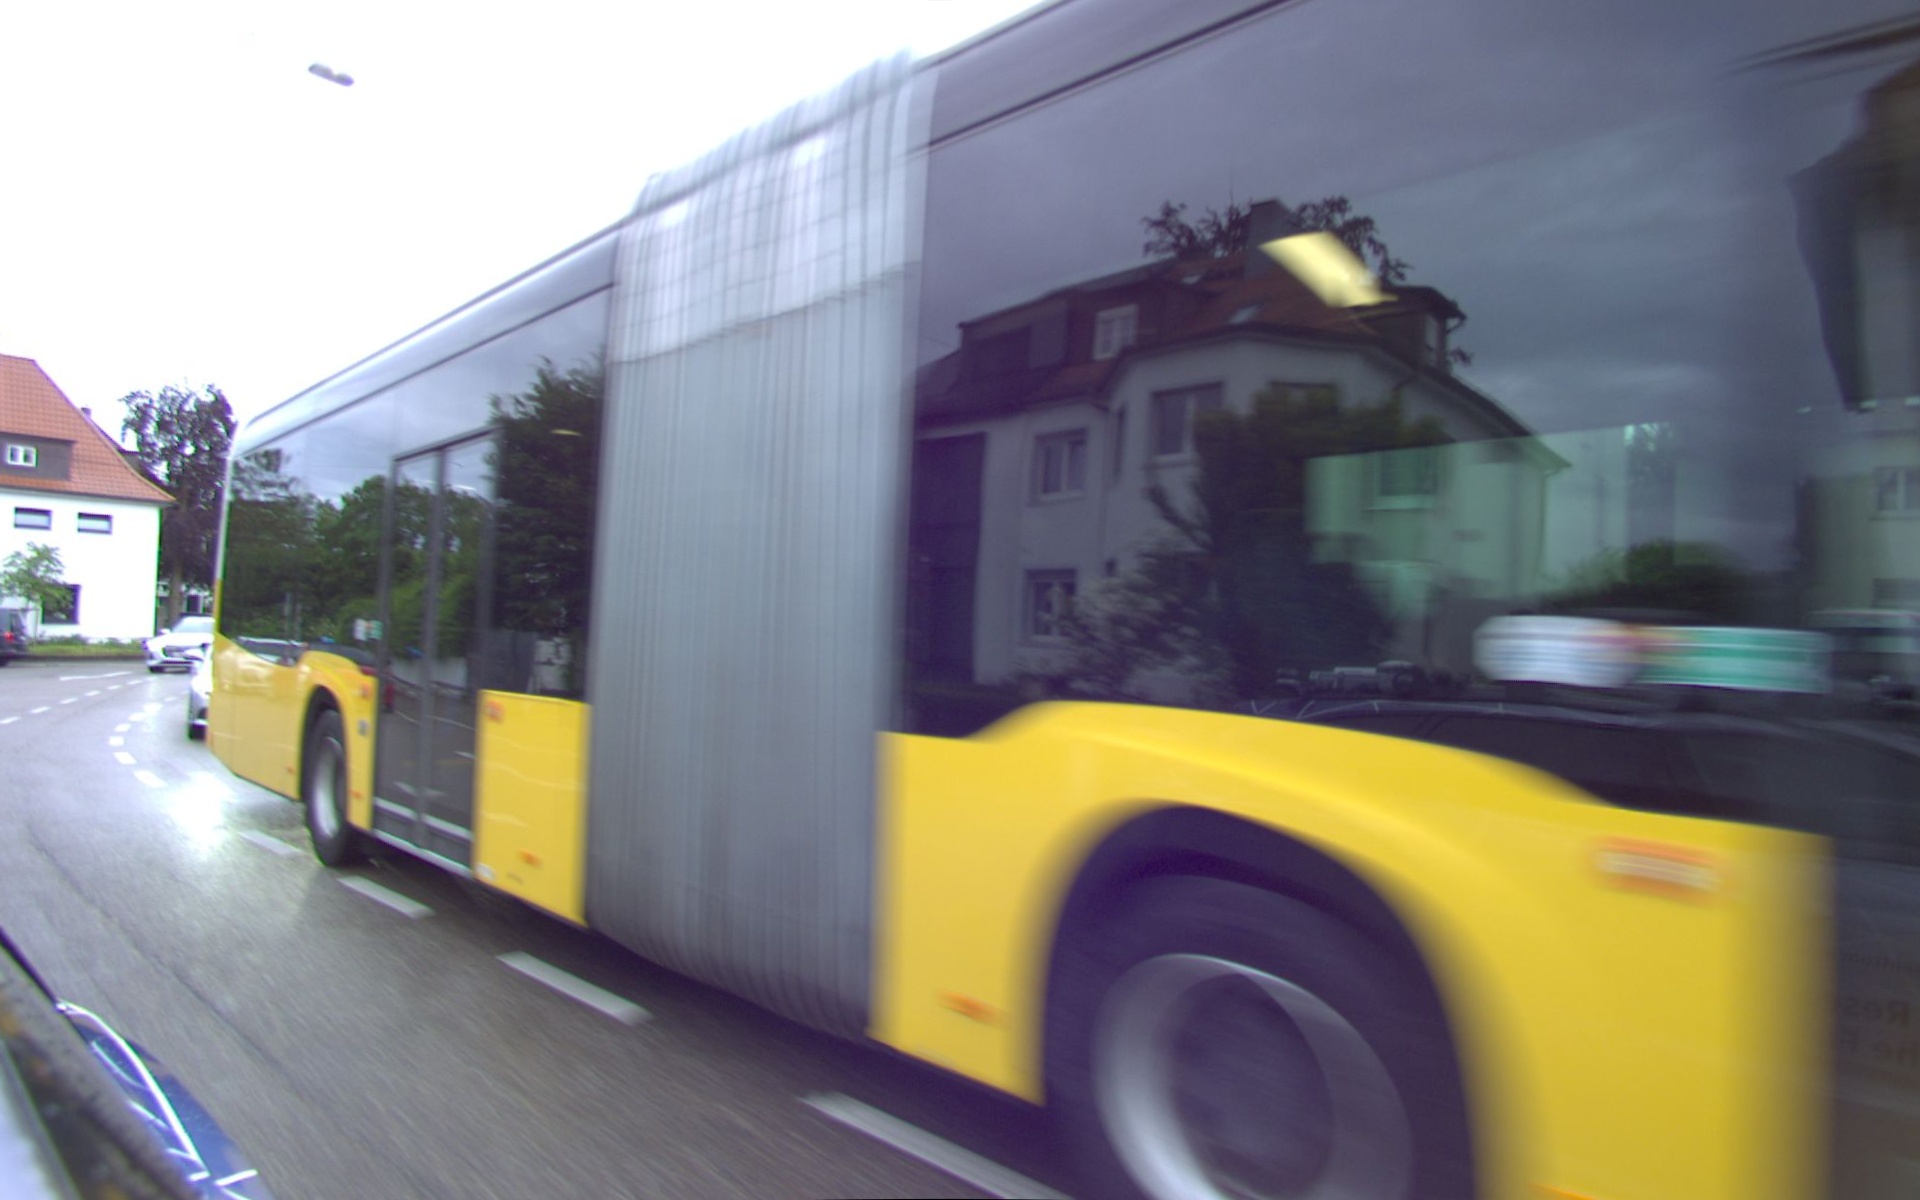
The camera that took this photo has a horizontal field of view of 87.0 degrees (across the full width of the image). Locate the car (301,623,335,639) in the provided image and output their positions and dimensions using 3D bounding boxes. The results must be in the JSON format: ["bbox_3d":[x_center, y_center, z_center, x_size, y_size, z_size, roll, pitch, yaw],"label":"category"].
[{"bbox_3d":[-63.384,3.047,99.879,4.437,1.383,1.657,-1,-5,43],"label":"car"}]

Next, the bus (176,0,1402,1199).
[{"bbox_3d":[-2.210,-0.057,6.243,8.680,3.424,2.647,-2,-4,43],"label":"bus"}]

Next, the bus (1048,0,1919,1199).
[{"bbox_3d":[4.565,-0.232,0.332,9.033,3.424,2.870,-1,-4,40],"label":"bus"}]

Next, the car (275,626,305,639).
[{"bbox_3d":[-70.697,3.423,106.785,4.437,1.383,1.657,-1,-2,43],"label":"car"}]

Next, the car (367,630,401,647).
[{"bbox_3d":[-47.081,3.142,82.729,1.655,1.383,3.444,2,-2,-43],"label":"car"}]

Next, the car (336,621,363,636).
[{"bbox_3d":[-56.817,2.669,94.131,1.654,1.383,3.447,2,-2,-39],"label":"car"}]

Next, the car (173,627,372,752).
[{"bbox_3d":[-9.949,1.207,14.490,1.968,1.491,4.494,4,-5,-38],"label":"car"}]

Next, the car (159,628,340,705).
[{"bbox_3d":[-14.897,1.338,21.486,1.868,1.475,3.691,1,-2,-13],"label":"car"}]

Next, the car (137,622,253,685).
[{"bbox_3d":[-22.255,1.511,29.619,1.765,1.712,3.903,1,-2,-23],"label":"car"}]

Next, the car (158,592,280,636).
[{"bbox_3d":[-37.501,0.749,51.384,4.666,1.823,1.948,6,-5,-31],"label":"car"}]

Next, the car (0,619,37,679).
[{"bbox_3d":[-33.453,1.523,32.781,4.838,1.962,1.946,3,-3,-30],"label":"car"}]
